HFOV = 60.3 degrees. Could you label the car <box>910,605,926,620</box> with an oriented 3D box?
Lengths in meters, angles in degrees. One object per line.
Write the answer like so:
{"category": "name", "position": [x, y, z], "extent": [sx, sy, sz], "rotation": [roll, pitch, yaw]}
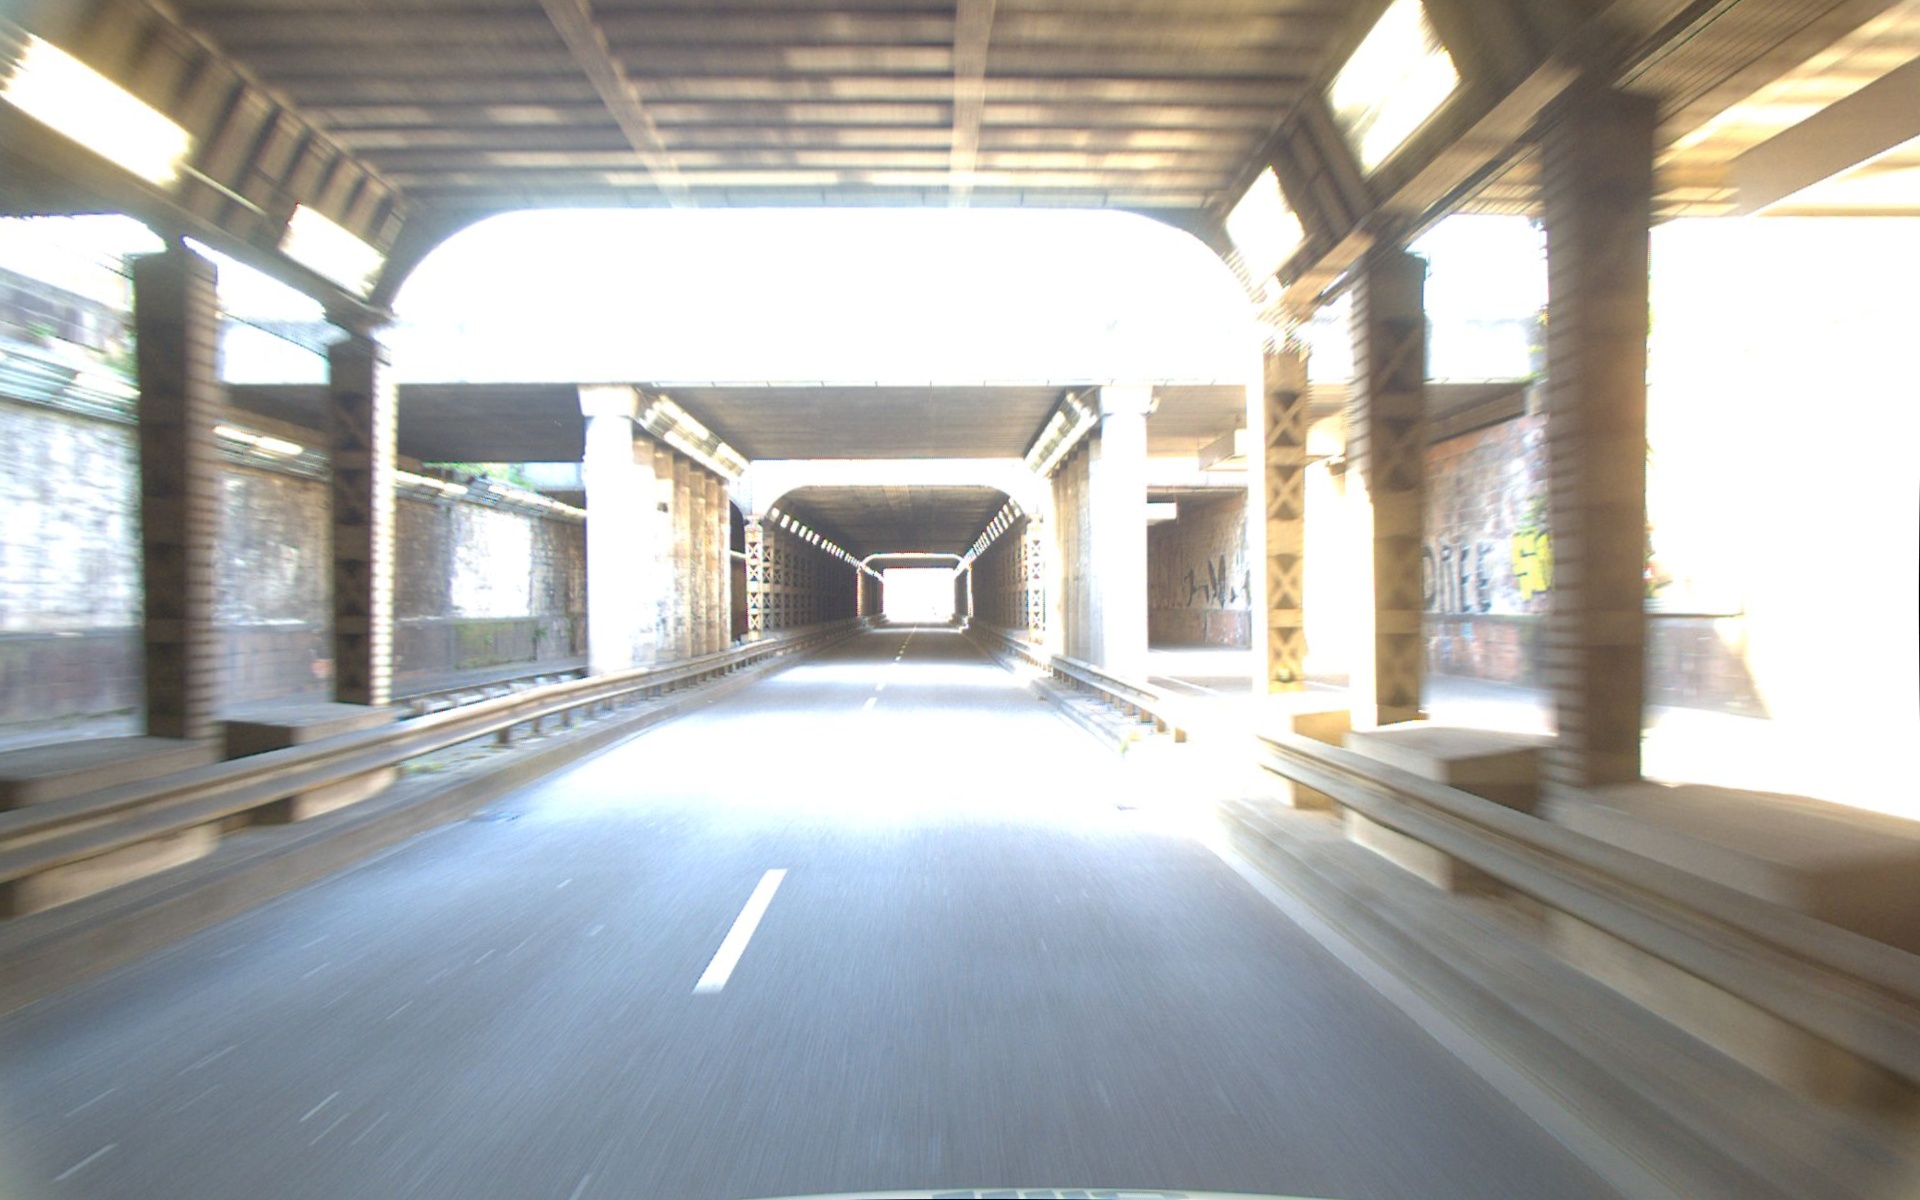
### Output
{"category": "car", "position": [-5.035, 1.510, 199.040], "extent": [1.953, 1.815, 3.999], "rotation": [0, 0, -1]}

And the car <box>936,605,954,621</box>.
{"category": "car", "position": [-1.677, 1.457, 183.123], "extent": [1.953, 1.815, 3.999], "rotation": [0, 0, -1]}

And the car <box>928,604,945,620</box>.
{"category": "car", "position": [-2.744, 1.428, 192.385], "extent": [1.953, 1.815, 3.999], "rotation": [0, 0, -1]}
